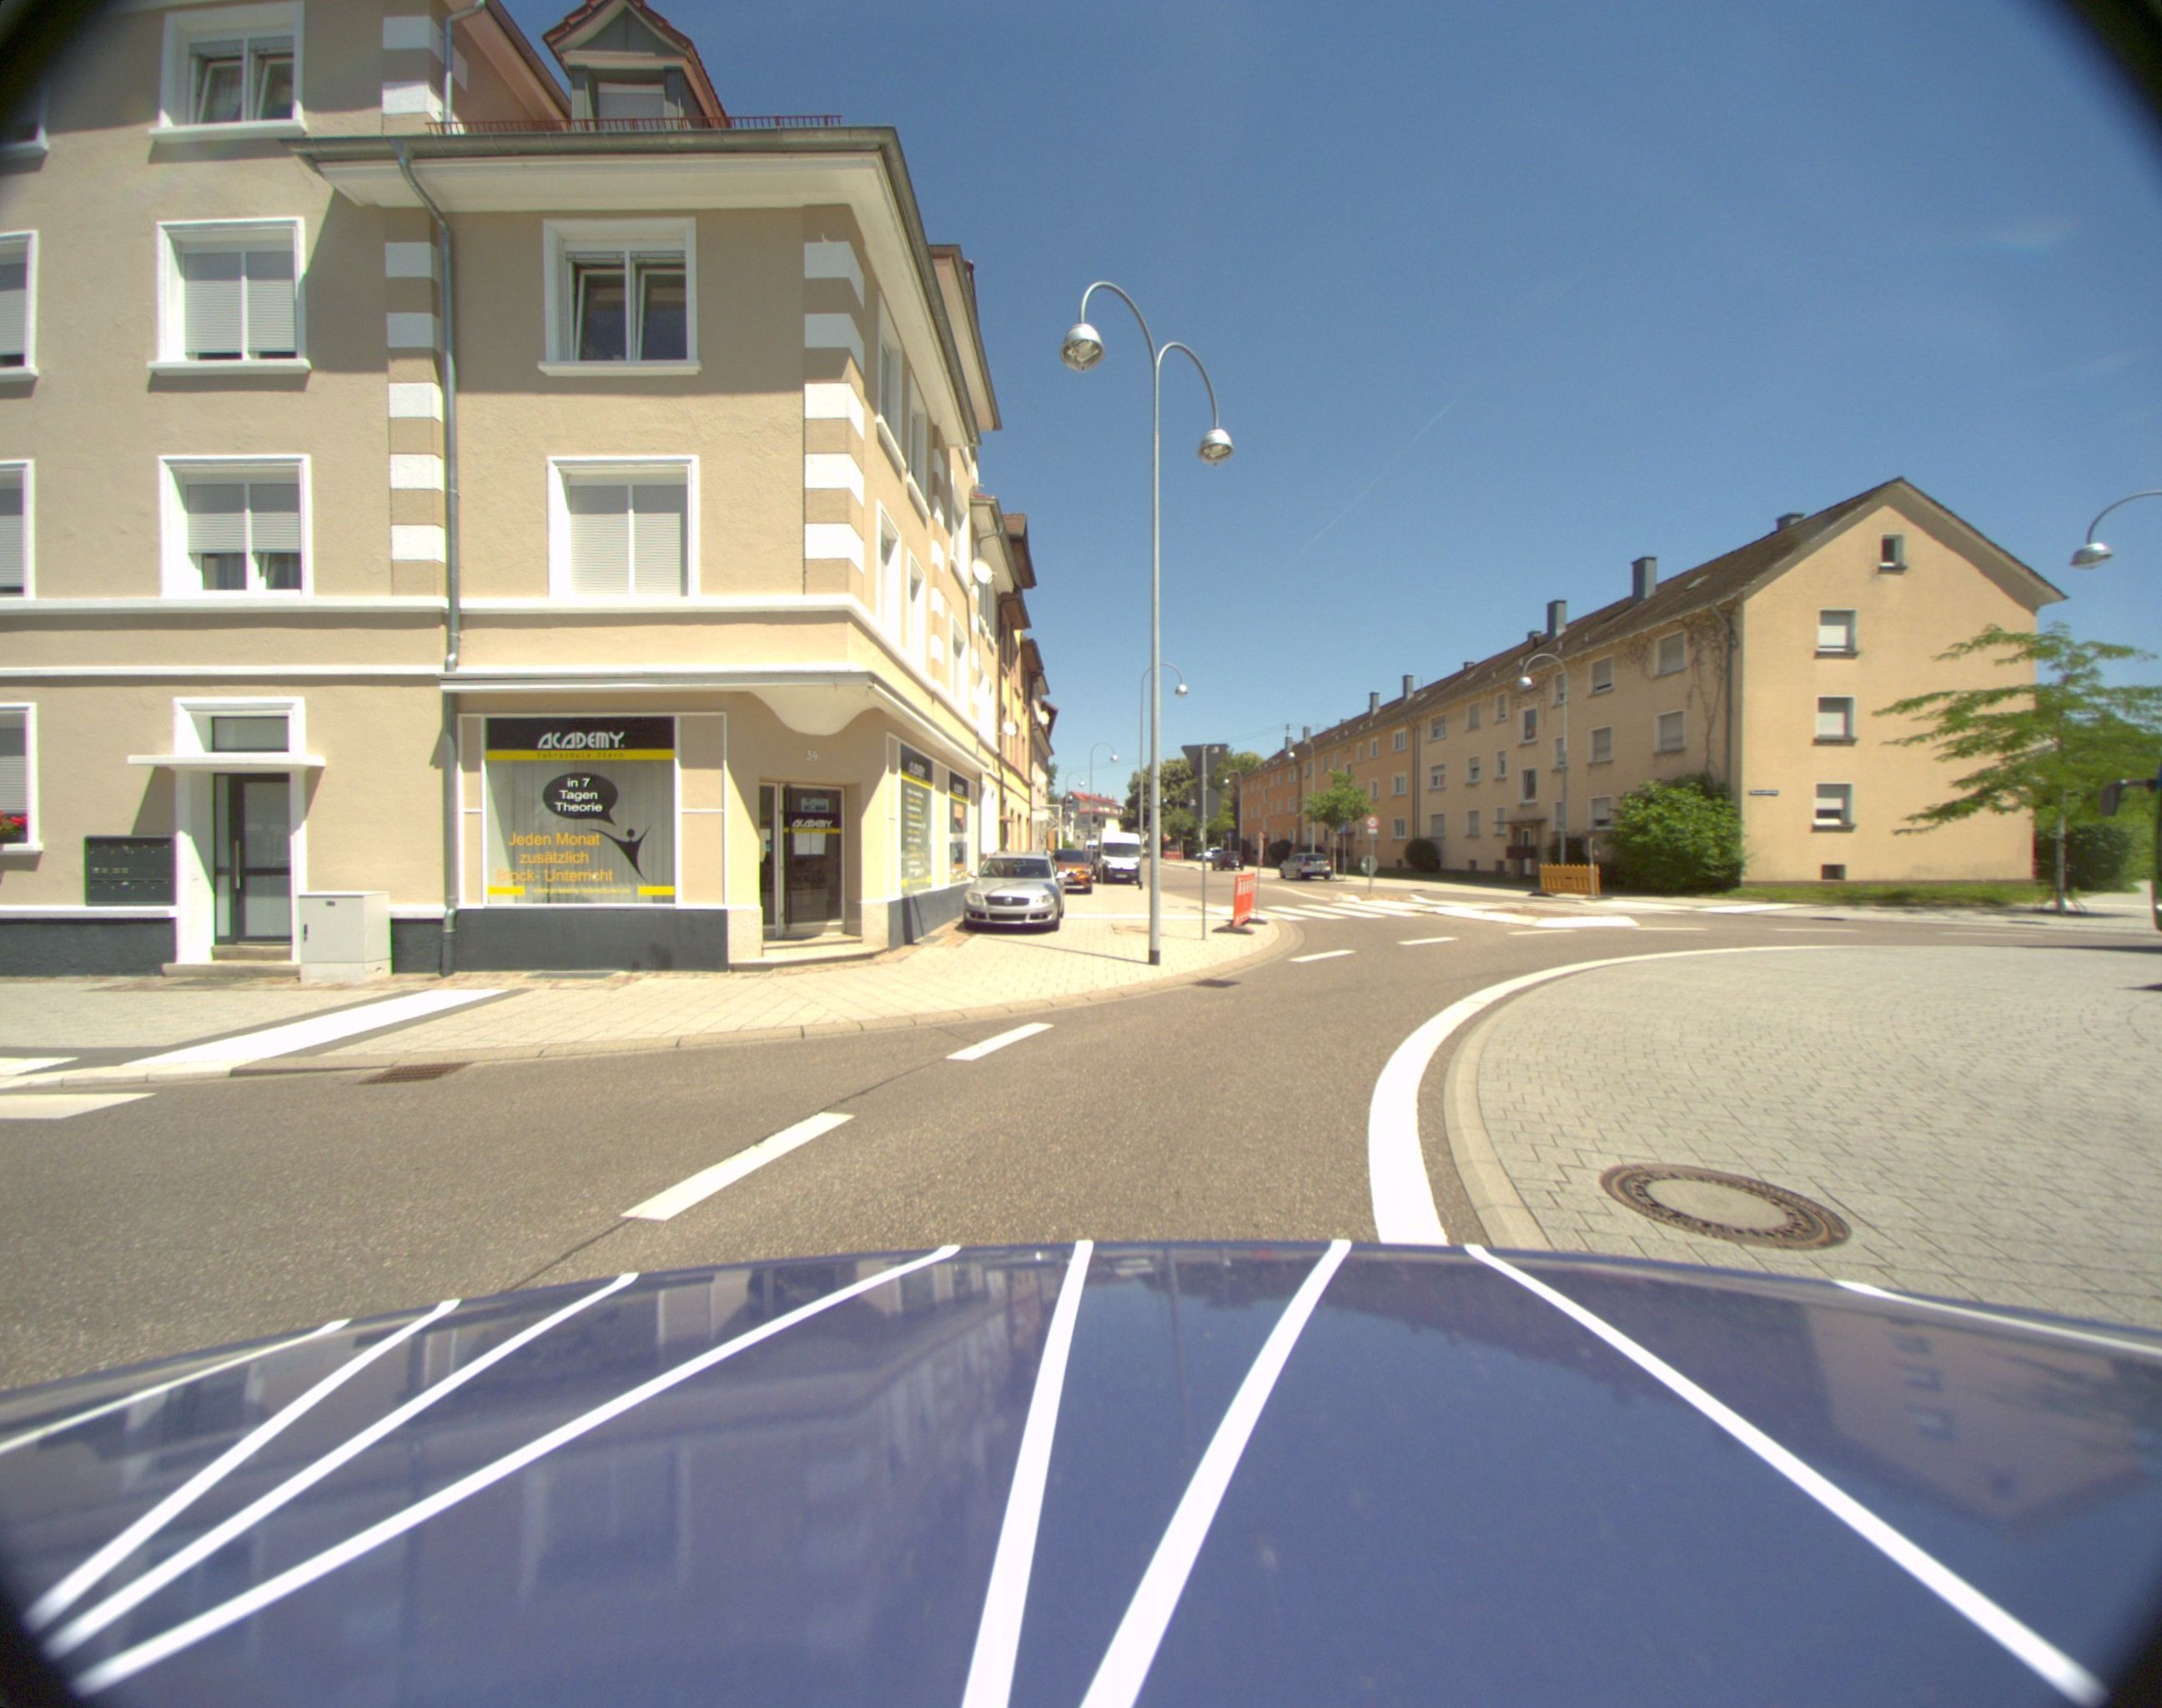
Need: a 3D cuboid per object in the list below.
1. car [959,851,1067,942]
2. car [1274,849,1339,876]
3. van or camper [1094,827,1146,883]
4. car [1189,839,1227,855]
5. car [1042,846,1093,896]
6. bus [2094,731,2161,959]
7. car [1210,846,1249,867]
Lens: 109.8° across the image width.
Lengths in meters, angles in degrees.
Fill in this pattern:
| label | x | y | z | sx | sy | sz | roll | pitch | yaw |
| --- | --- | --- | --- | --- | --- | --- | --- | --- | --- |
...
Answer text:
| label | x | y | z | sx | sy | sz | roll | pitch | yaw |
| --- | --- | --- | --- | --- | --- | --- | --- | --- | --- |
| car | -1.243 | 0.740 | 15.725 | 1.768 | 1.521 | 4.689 | 1 | 1 | 0 |
| car | 12.724 | 0.459 | 43.139 | 2.000 | 1.412 | 4.085 | -2 | 1 | -7 |
| van or camper | 1.832 | 0.019 | 37.721 | 2.170 | 2.574 | 5.764 | 1 | 1 | -1 |
| car | 16.348 | -0.866 | 97.792 | 4.439 | 1.863 | 1.817 | -2 | 2 | -12 |
| car | -0.432 | 0.552 | 27.682 | 1.677 | 1.610 | 4.362 | 2 | 1 | 0 |
| bus | 20.761 | -0.111 | 10.716 | 10.082 | 3.303 | 2.963 | 1 | -2 | -6 |
| car | 11.566 | 0.178 | 59.553 | 1.862 | 1.498 | 4.560 | -2 | 0 | -4 |
